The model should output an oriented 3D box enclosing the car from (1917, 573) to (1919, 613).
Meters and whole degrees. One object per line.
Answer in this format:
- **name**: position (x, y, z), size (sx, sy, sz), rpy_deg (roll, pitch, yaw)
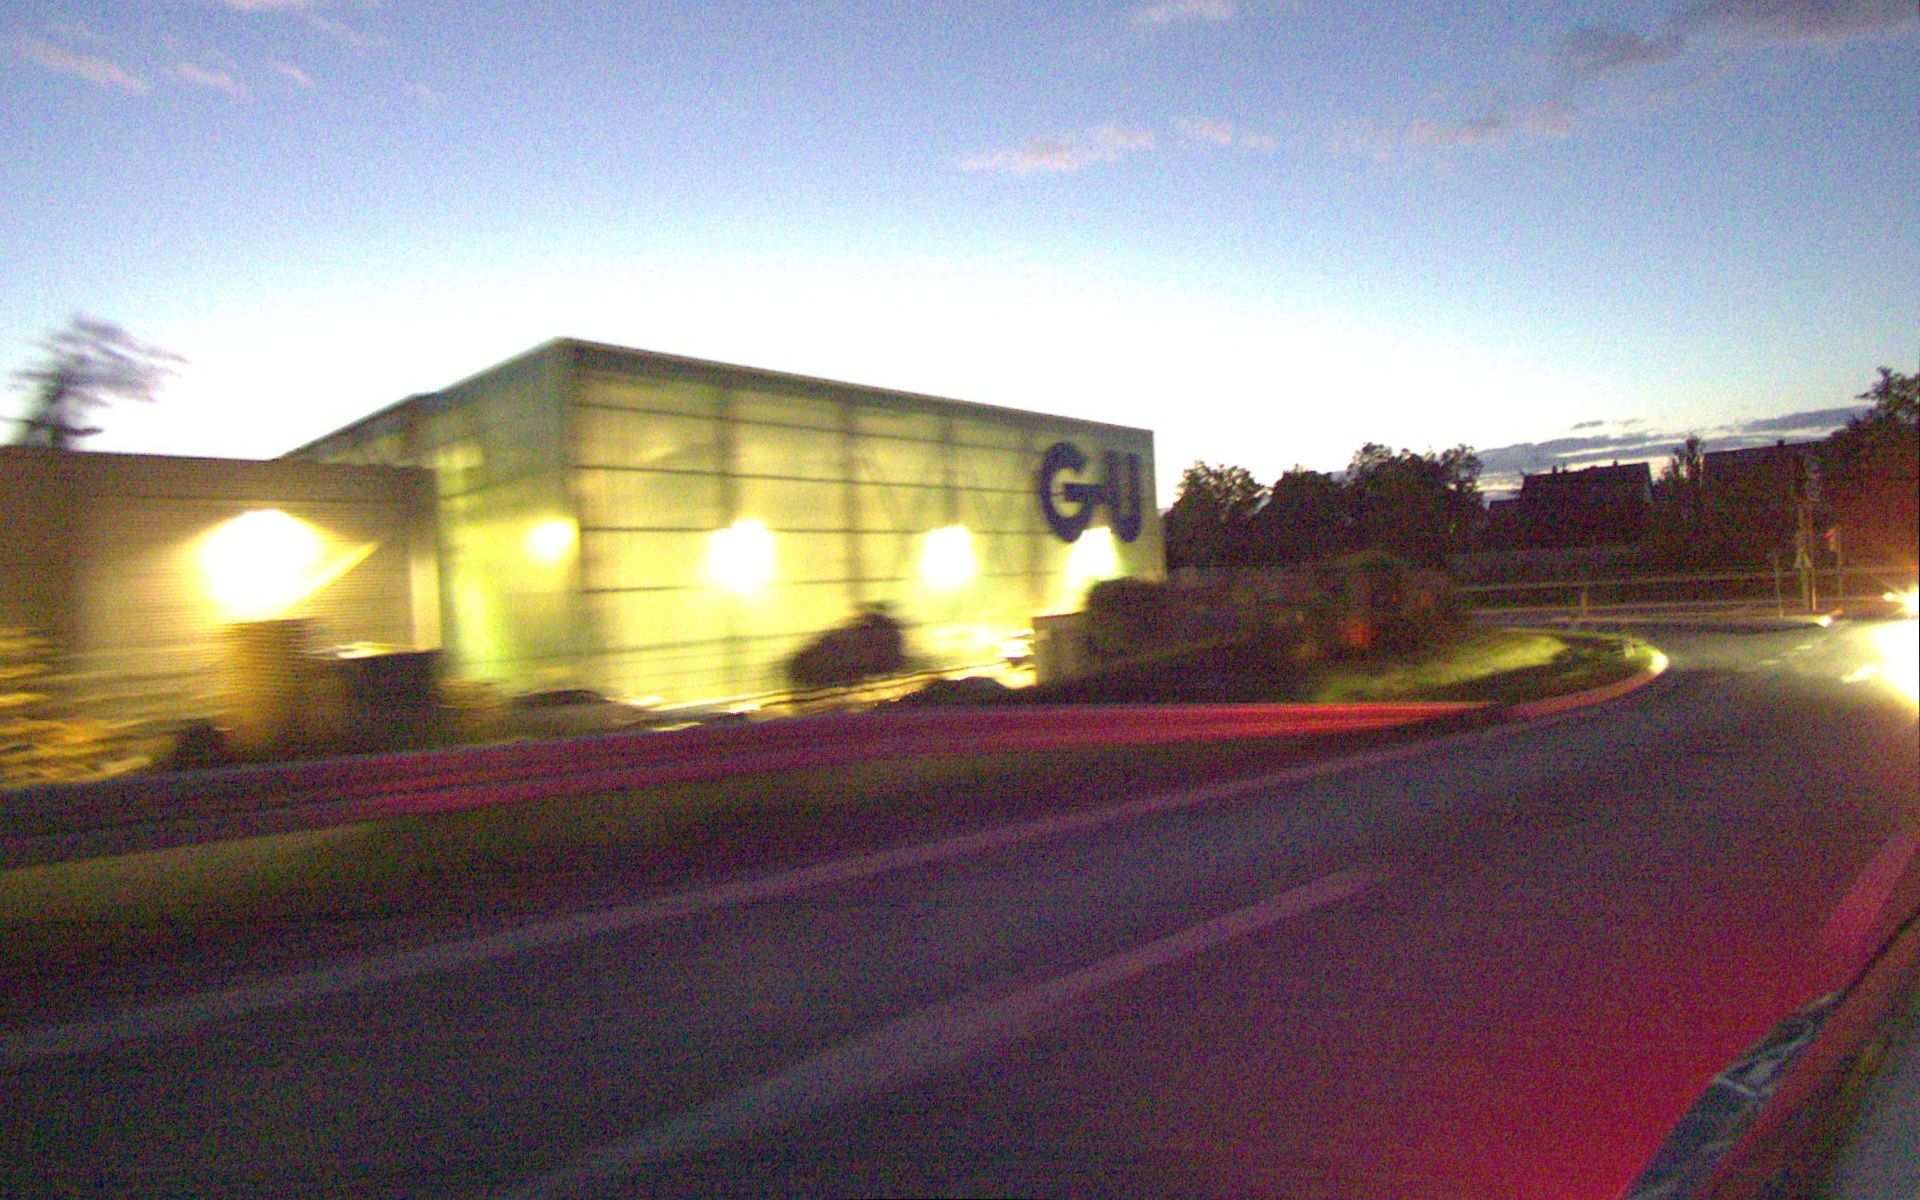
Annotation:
- **car**: position (37.736, -0.362, 37.985), size (4.113, 1.478, 1.763), rpy_deg (-2, -1, -34)
